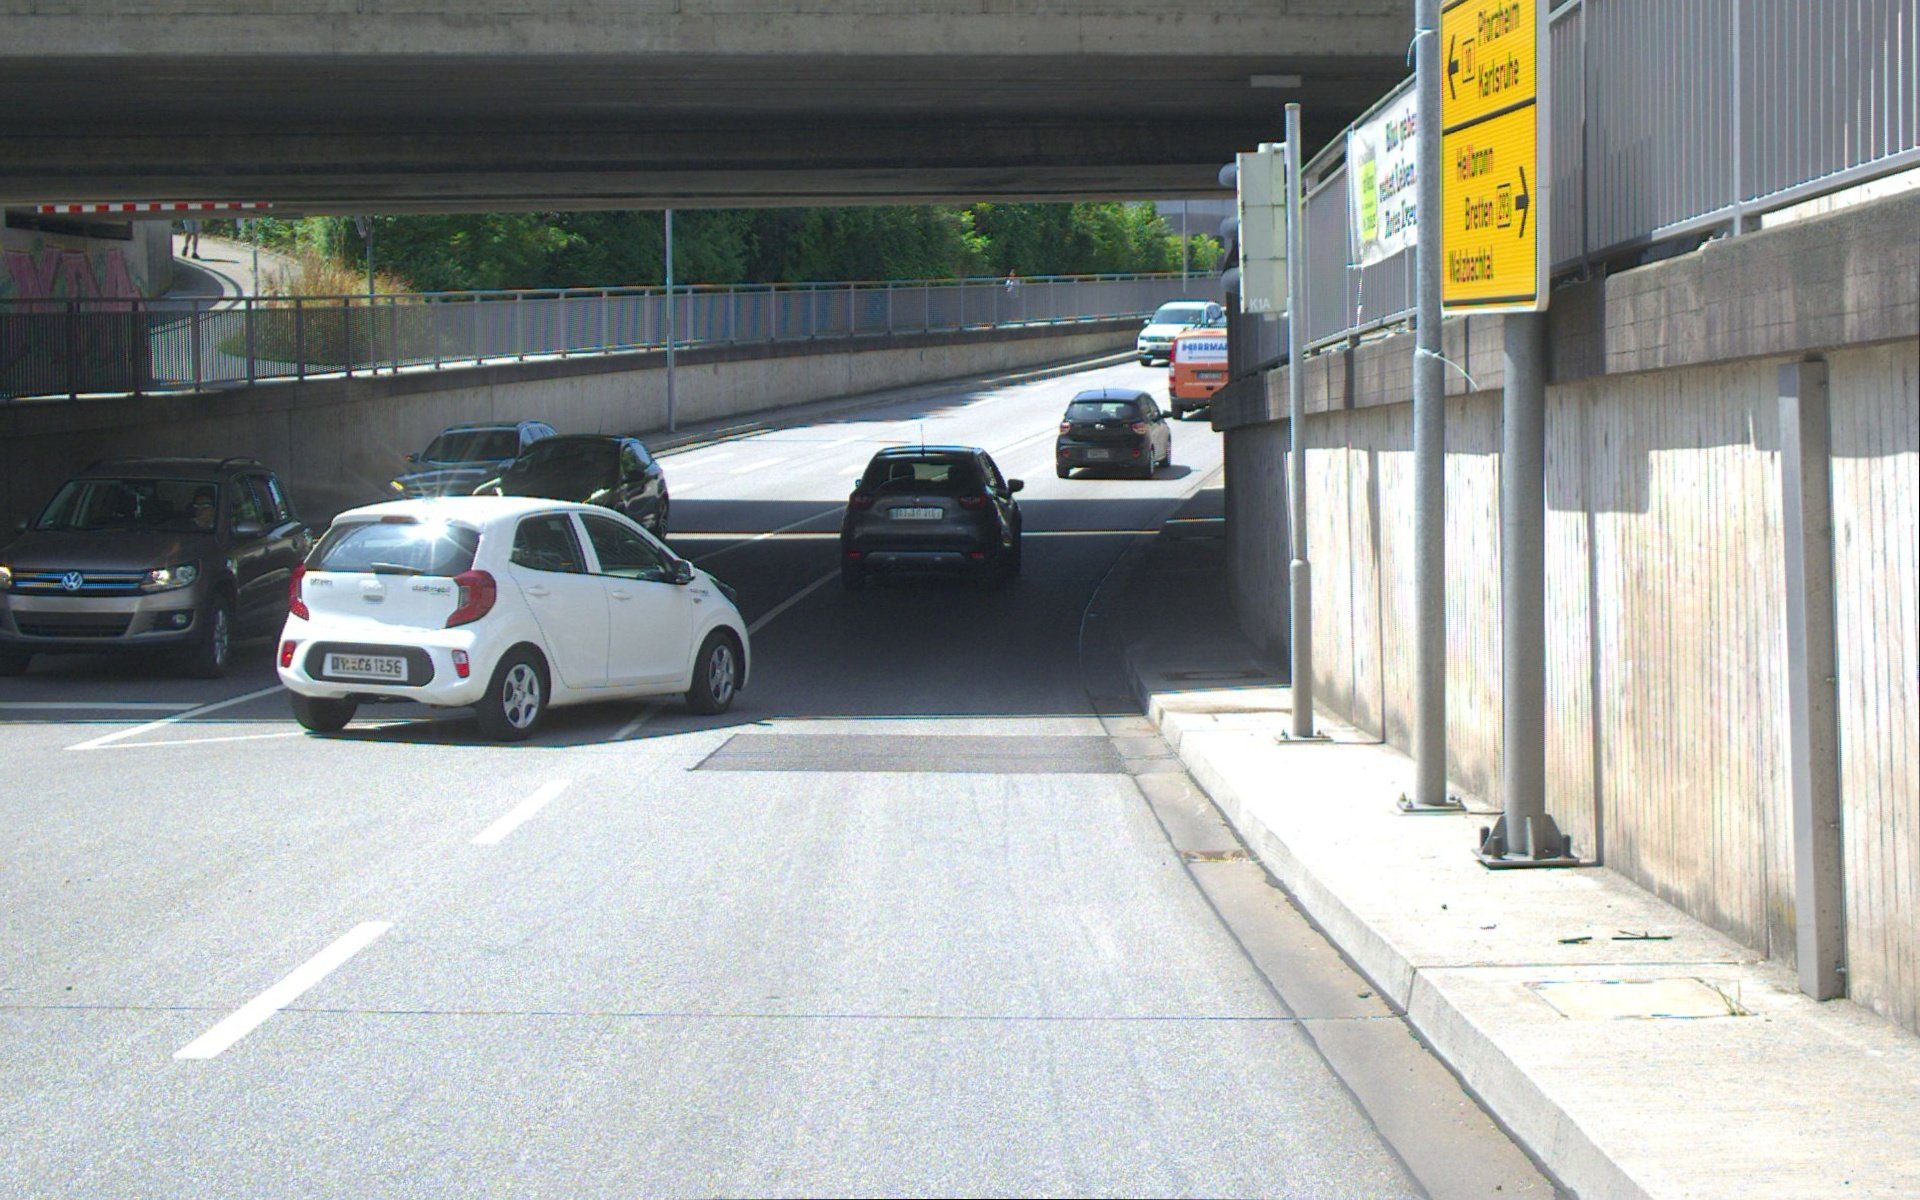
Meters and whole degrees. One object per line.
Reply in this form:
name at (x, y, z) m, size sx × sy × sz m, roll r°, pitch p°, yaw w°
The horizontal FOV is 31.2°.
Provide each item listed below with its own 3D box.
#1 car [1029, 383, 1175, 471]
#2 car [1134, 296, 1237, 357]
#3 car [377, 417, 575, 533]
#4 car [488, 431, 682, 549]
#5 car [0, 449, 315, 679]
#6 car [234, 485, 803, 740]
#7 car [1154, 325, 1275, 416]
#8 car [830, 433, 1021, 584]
car at (2.547, -3.057, 60.844) m, size 1.994 × 1.502 × 3.999 m, roll 1°, pitch 3°, yaw 11°
car at (6.296, -7.618, 95.520) m, size 1.995 × 1.583 × 3.998 m, roll 2°, pitch 6°, yaw 17°
car at (-6.981, -1.852, 50.005) m, size 1.994 × 1.583 × 4.000 m, roll 0°, pitch 3°, yaw 5°
car at (-4.867, -1.472, 45.091) m, size 1.782 × 1.431 × 4.000 m, roll 0°, pitch 3°, yaw 5°
car at (-6.547, -0.353, 27.188) m, size 1.993 × 1.621 × 4.001 m, roll 0°, pitch 3°, yaw 2°
car at (-2.803, 0.003, 22.731) m, size 1.728 × 1.415 × 3.994 m, roll 2°, pitch 4°, yaw 28°
car at (5.617, -5.015, 75.315) m, size 1.874 × 1.925 × 4.717 m, roll 1°, pitch 3°, yaw 14°
car at (-0.345, -1.090, 39.340) m, size 1.993 × 1.583 × 4.001 m, roll 0°, pitch 3°, yaw 2°
